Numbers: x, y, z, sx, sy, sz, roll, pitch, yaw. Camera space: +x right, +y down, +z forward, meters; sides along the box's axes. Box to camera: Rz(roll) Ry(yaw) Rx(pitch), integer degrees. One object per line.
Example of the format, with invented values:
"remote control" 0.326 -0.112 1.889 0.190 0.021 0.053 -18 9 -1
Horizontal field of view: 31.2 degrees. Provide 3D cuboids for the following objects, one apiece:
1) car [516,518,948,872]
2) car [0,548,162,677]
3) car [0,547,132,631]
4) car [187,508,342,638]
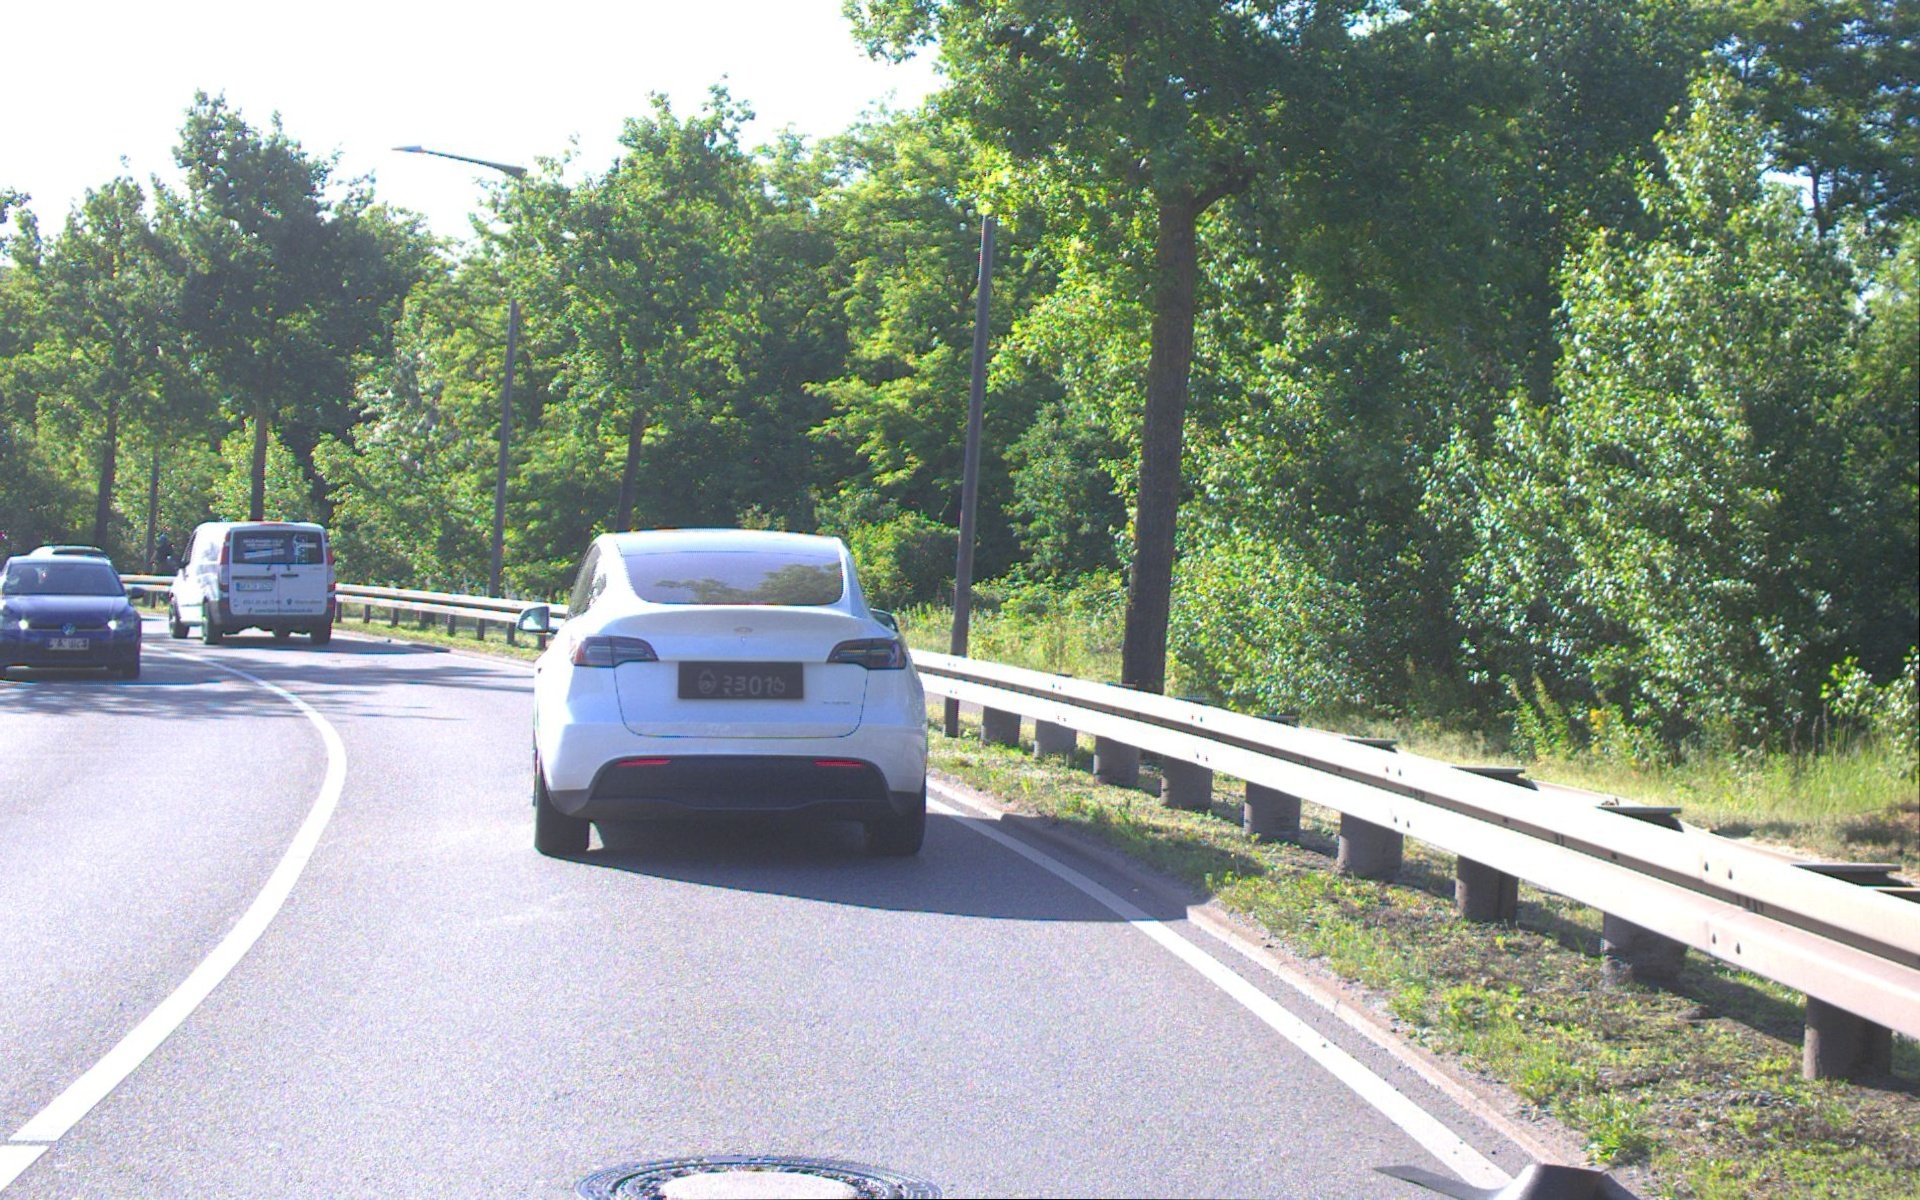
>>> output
"car" -1.279 0.415 17.997 1.985 1.632 4.063 1 1 -6
"car" -10.622 0.119 41.046 1.791 1.426 3.828 1 1 -18
"car" -18.051 -0.240 68.866 1.859 1.579 3.915 1 1 -29
"car" -10.941 -0.452 53.873 2.004 1.934 4.469 1 1 -16
